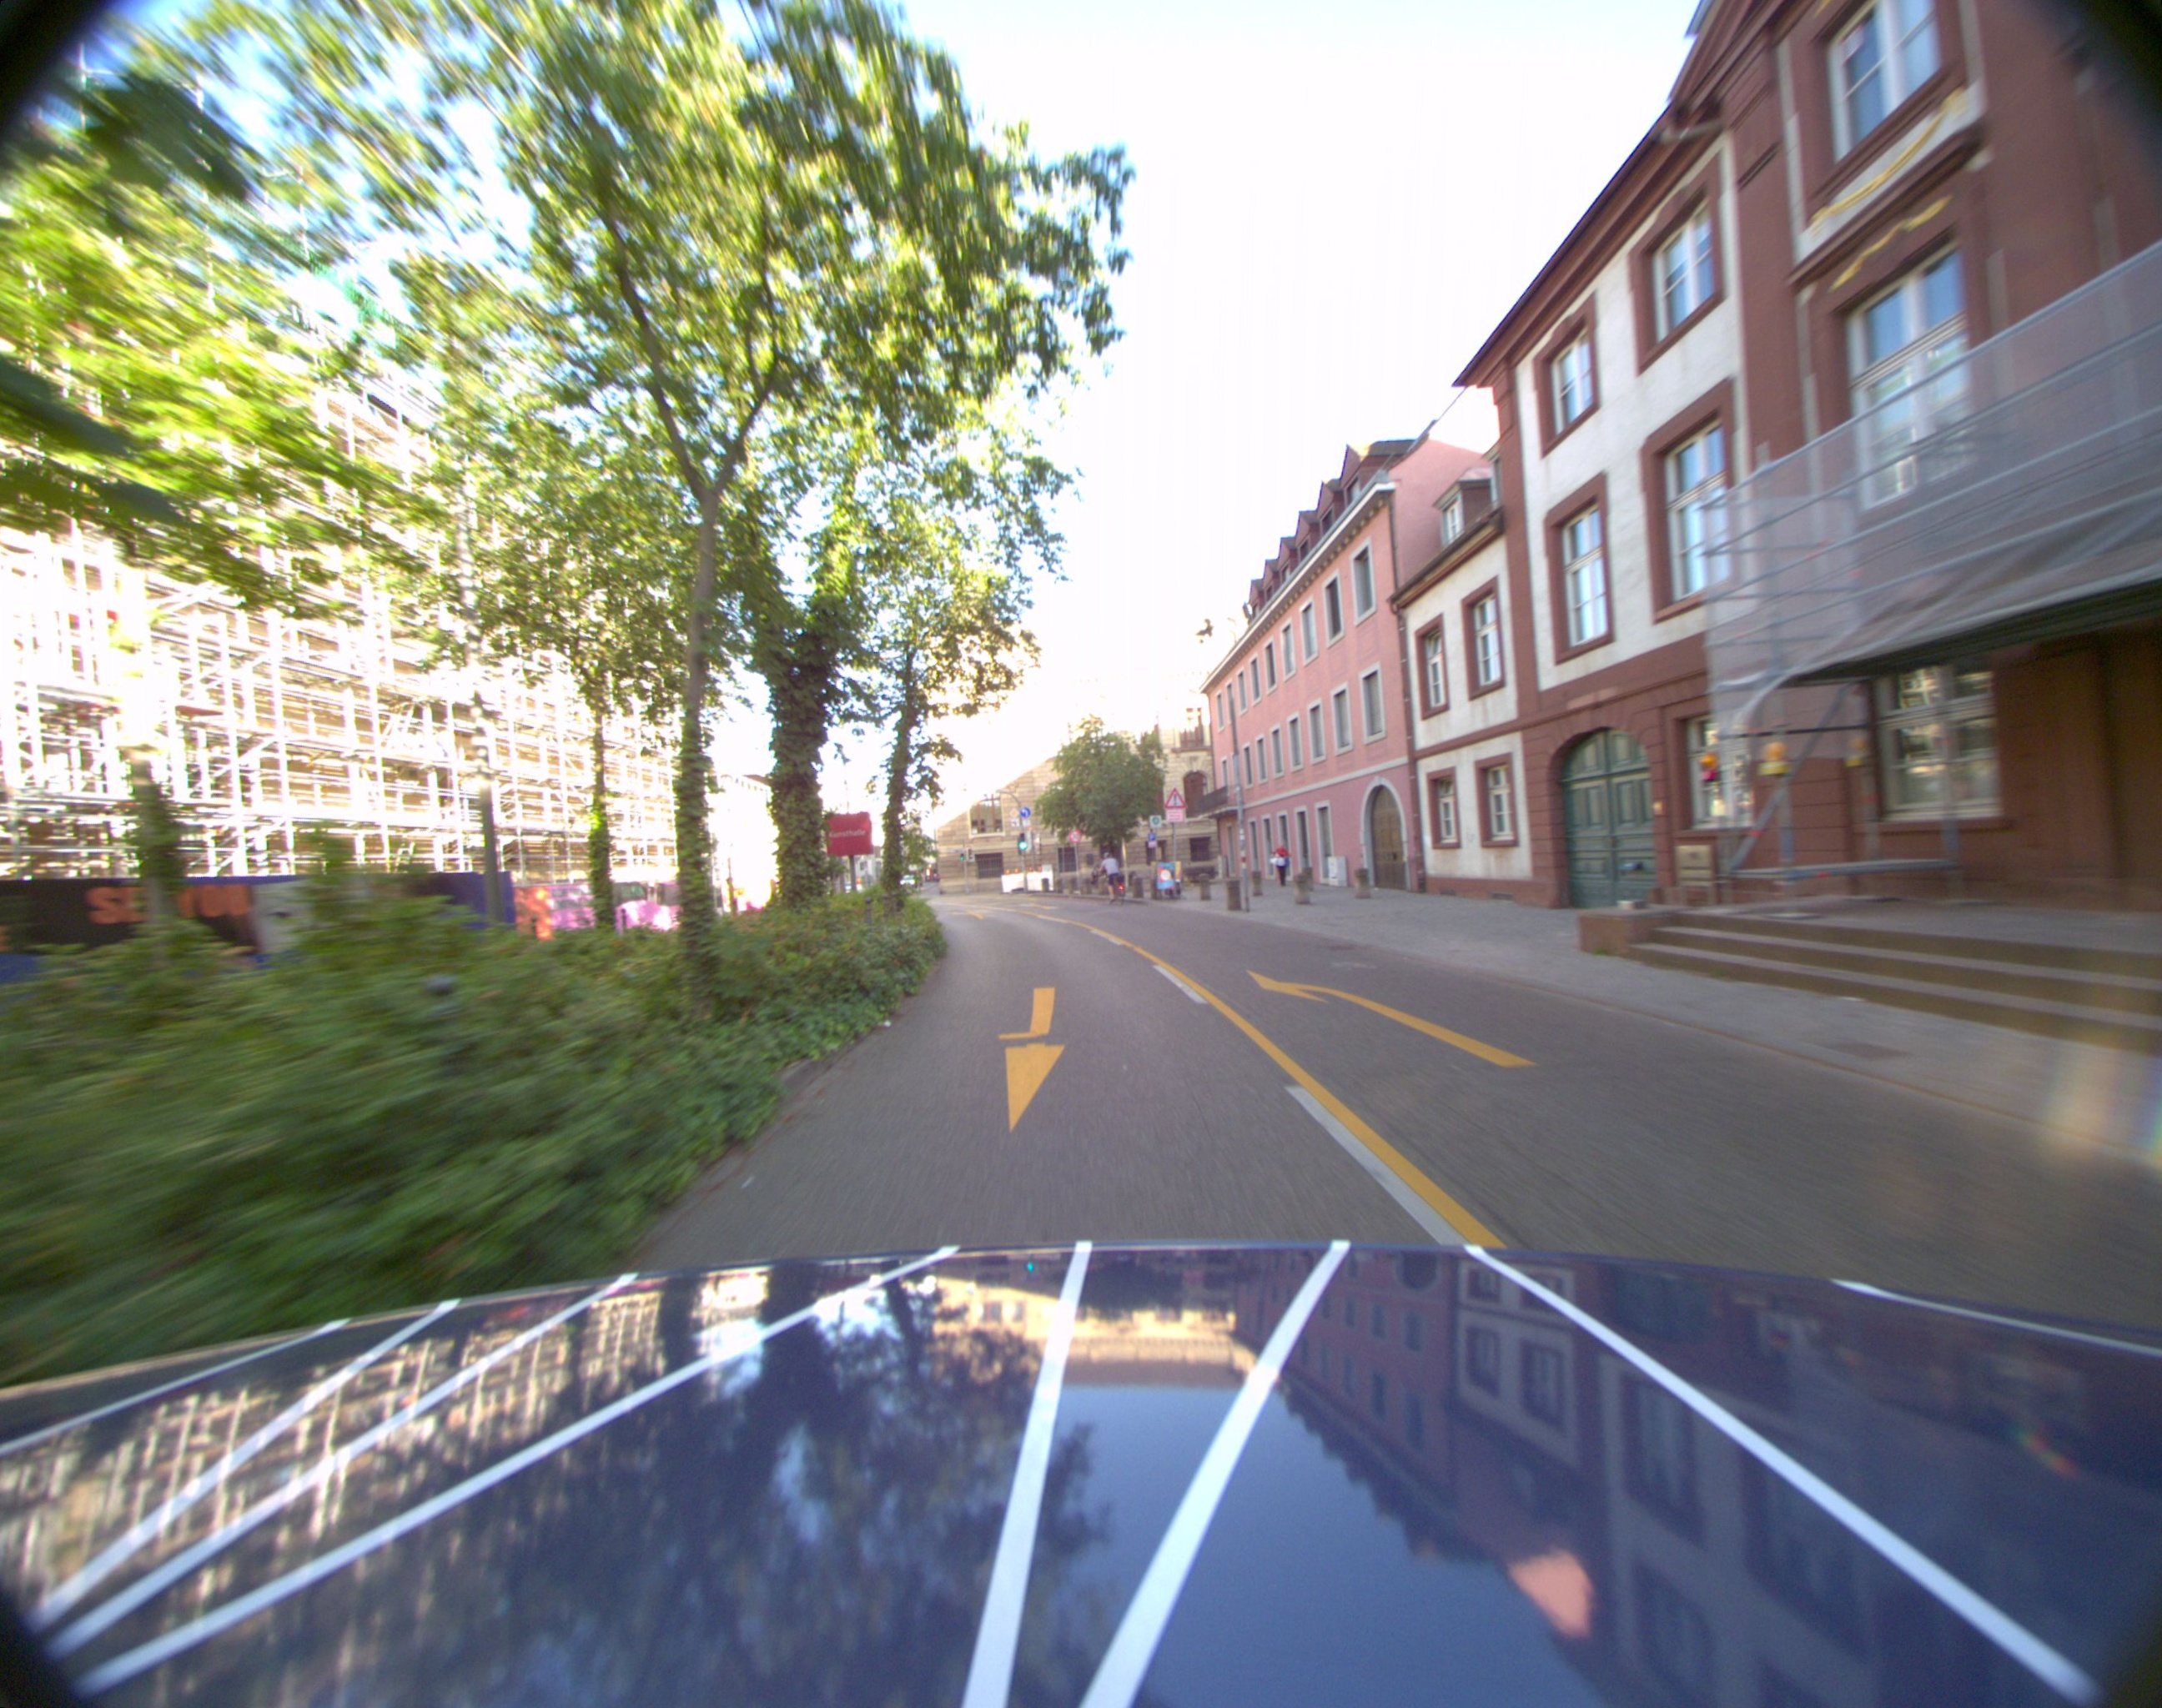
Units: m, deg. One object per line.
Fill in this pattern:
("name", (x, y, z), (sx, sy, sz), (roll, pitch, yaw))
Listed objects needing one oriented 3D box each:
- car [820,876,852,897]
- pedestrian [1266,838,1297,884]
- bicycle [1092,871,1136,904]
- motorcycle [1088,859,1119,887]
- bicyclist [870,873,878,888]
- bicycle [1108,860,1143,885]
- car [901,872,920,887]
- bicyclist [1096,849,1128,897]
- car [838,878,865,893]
("car", (-23.192, 3.058, 72.178), (1.900, 1.614, 4.619), (-5, 0, -7))
("pedestrian", (7.720, 0.277, 29.310), (0.793, 1.679, 0.868), (-6, 1, -2))
("bicycle", (1.113, 1.147, 26.271), (0.774, 1.056, 2.075), (-4, 0, -18))
("motorcycle", (1.124, 0.970, 38.407), (0.815, 1.309, 2.334), (-4, 0, -15))
("bicyclist", (-18.384, 2.371, 67.443), (0.538, 1.281, 0.551), (-5, 0, -11))
("bicycle", (2.369, 0.967, 40.103), (0.681, 1.199, 2.009), (-2, 0, 42))
("car", (-20.790, 3.085, 92.654), (1.855, 1.483, 4.252), (-5, 0, -9))
("bicyclist", (1.069, 0.665, 26.236), (0.747, 1.574, 0.794), (-5, 0, -18))
("car", (-23.885, 3.255, 79.197), (1.701, 1.336, 4.596), (-5, 0, -5))
